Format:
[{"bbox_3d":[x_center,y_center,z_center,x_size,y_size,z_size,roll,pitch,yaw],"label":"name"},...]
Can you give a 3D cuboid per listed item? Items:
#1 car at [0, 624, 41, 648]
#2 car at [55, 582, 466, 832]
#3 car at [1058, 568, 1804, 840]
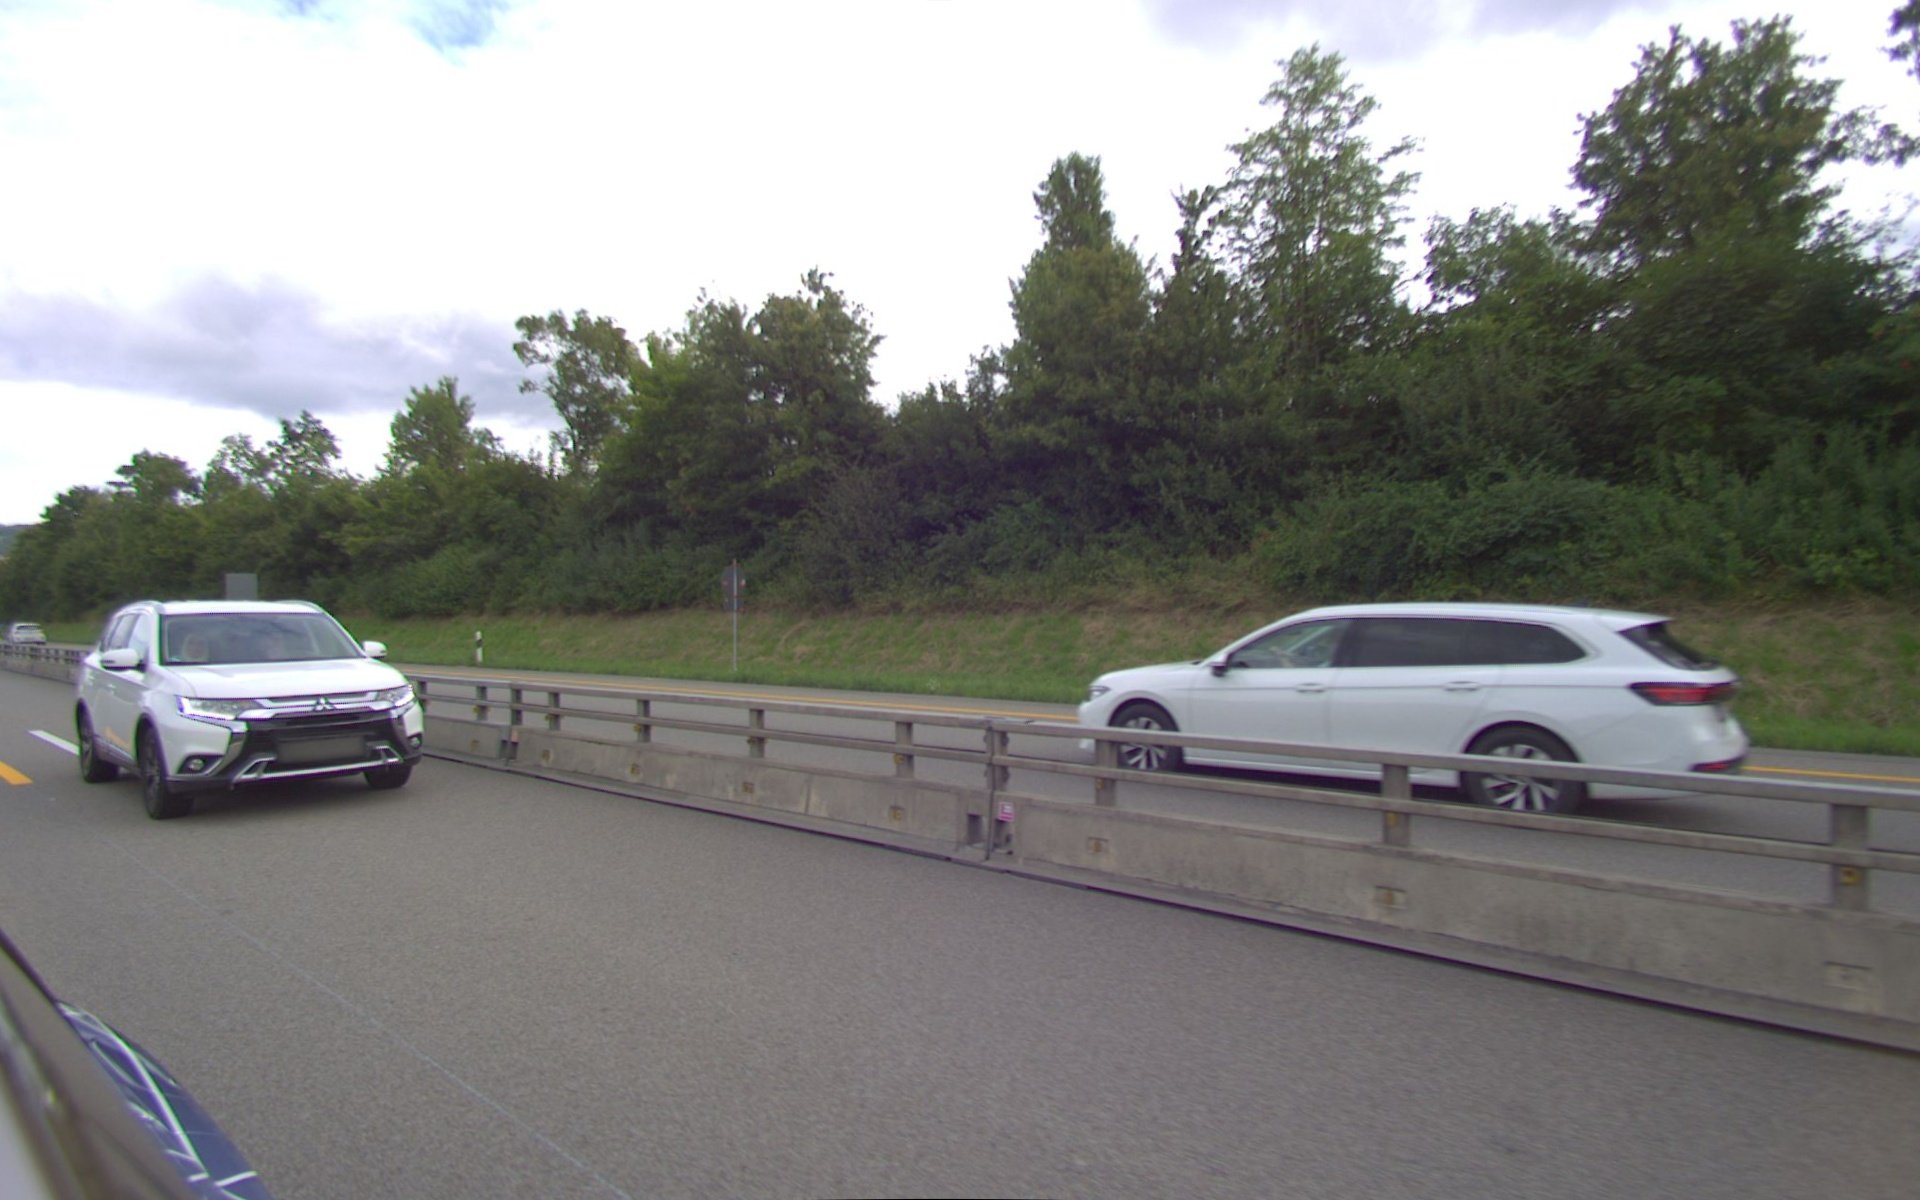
[{"bbox_3d":[-62.797,2.378,67.521,3.956,1.465,1.678,-1,0,40],"label":"car"},{"bbox_3d":[-6.340,0.748,8.942,4.605,1.640,1.972,-2,-1,42],"label":"car"},{"bbox_3d":[3.347,0.615,7.887,4.898,1.480,1.987,-2,-1,41],"label":"car"}]
